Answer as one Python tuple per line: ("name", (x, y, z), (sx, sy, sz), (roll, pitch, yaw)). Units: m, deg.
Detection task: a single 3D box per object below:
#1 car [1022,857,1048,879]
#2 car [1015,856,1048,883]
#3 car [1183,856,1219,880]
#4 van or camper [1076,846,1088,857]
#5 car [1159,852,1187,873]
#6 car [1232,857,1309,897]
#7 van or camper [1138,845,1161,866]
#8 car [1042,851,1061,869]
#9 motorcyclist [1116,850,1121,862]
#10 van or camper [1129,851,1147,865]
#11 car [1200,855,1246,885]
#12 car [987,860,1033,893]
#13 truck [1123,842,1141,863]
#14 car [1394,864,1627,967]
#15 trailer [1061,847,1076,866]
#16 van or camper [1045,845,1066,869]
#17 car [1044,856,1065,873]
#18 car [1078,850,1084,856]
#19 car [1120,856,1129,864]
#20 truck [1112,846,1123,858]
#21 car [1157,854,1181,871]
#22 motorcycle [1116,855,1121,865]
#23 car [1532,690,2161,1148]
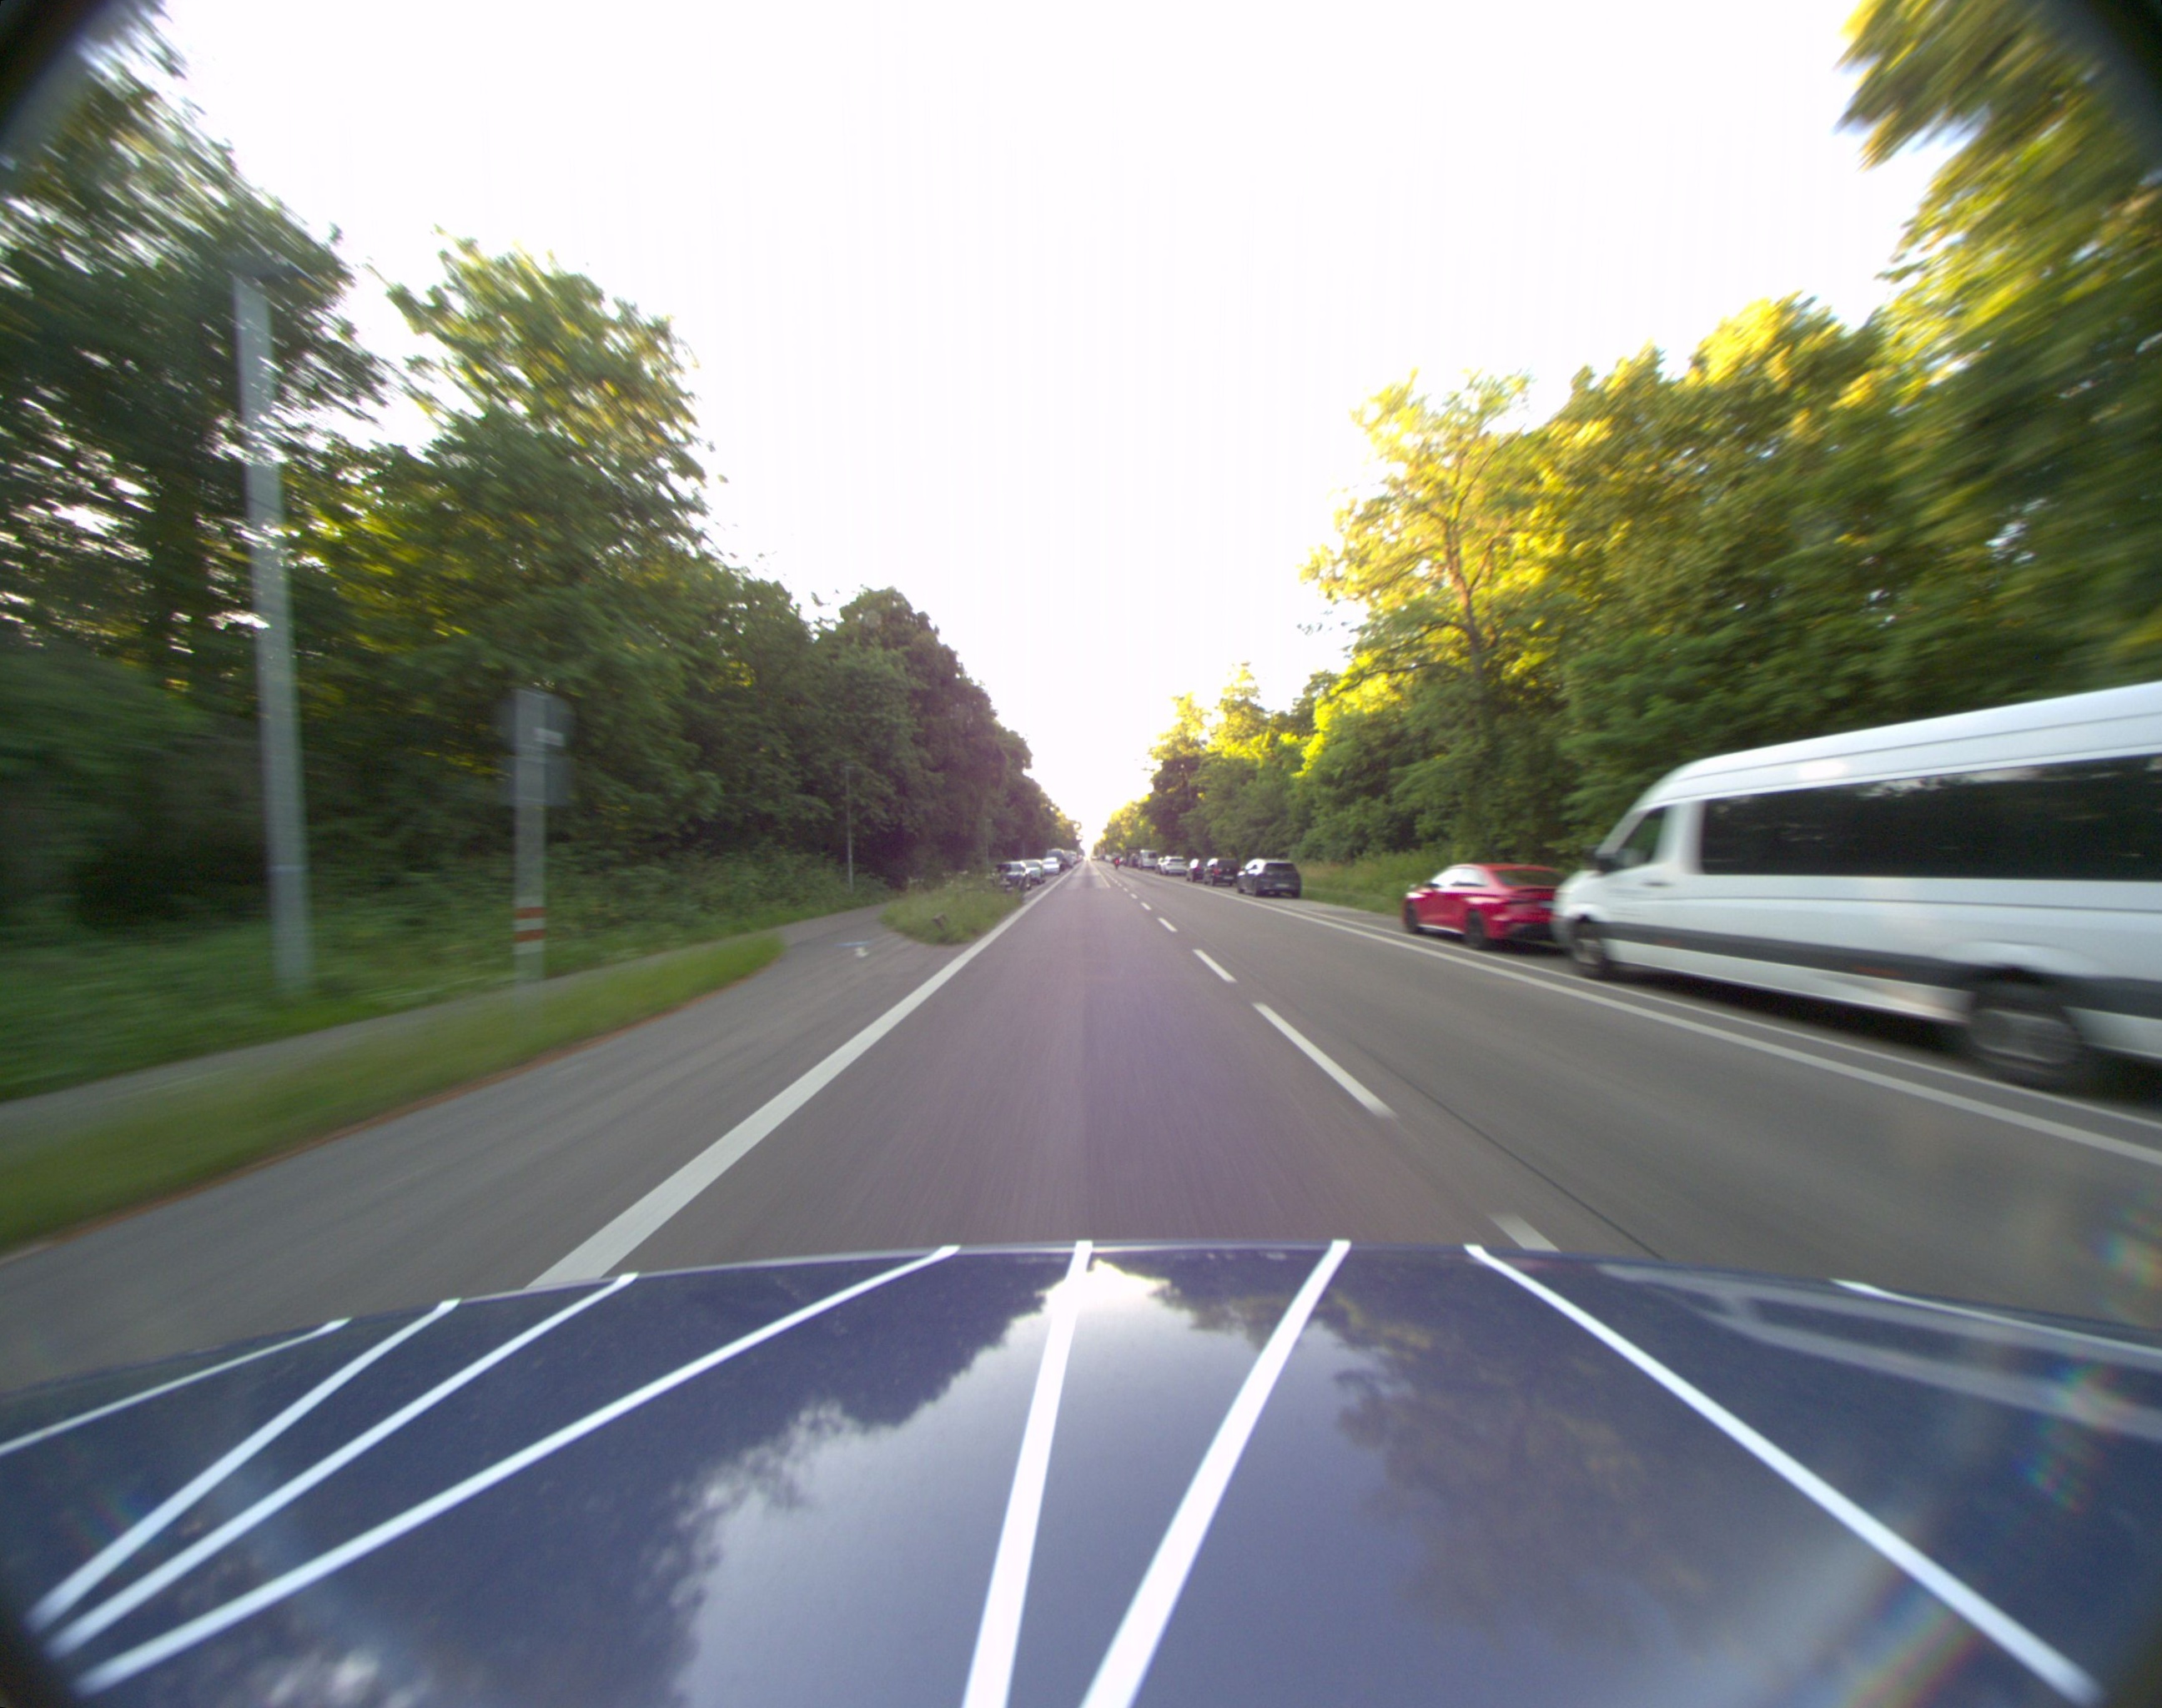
("car", (-3.189, 0.936, 53.312), (1.583, 1.438, 3.961), (-1, 0, 0))
("car", (-3.003, 0.927, 46.749), (1.693, 1.537, 4.112), (-1, 0, 1))
("car", (7.324, 0.845, 46.616), (1.601, 1.386, 4.051), (0, 0, 0))
("van or camper", (0.322, -0.535, 194.976), (3.015, 2.704, 6.960), (-1, 0, 1))
("car", (7.701, 0.699, 63.862), (1.699, 1.636, 4.572), (1, 0, -1))
("car", (7.464, 0.873, 30.340), (1.850, 1.454, 4.228), (1, 0, -2))
("van or camper", (8.165, 0.200, 91.310), (2.116, 2.376, 6.380), (2, 0, -1))
("car", (-3.045, 0.644, 80.097), (1.856, 1.754, 4.723), (-3, 0, -2))
("motorcyclist", (4.750, 0.298, 95.528), (0.605, 1.520, 0.995), (-1, 1, 3))
("van or camper", (8.320, 0.570, 110.949), (2.034, 1.945, 4.691), (2, 0, -2))
("car", (7.511, 0.820, 40.485), (1.716, 1.500, 3.656), (1, 0, 0))
("car", (-3.362, 1.032, 36.511), (1.715, 1.436, 4.122), (-2, 0, 1))
("truck", (8.321, -0.237, 124.353), (2.226, 3.188, 6.270), (2, 0, -1))
("car", (7.211, 0.935, 13.357), (1.720, 1.422, 4.388), (0, 0, 2))
("trailer", (-1.818, 0.373, 111.013), (1.866, 2.633, 4.269), (-2, 1, 0))
("van or camper", (-2.891, 0.390, 87.990), (2.132, 2.526, 6.061), (-2, -1, 0))
("car", (-2.429, 0.959, 70.337), (1.848, 1.485, 4.758), (-2, 0, -2))
("car", (0.036, -0.222, 254.870), (1.844, 2.007, 4.197), (-1, 0, 1))
("car", (8.236, 1.161, 144.532), (1.606, 1.495, 3.760), (2, 0, 3))
("truck", (9.404, -0.547, 195.940), (2.654, 3.038, 5.800), (-2, 1, 1))
("car", (7.972, 0.771, 69.302), (1.676, 1.511, 3.735), (1, 0, -1))
("motorcycle", (4.759, 0.746, 95.532), (0.612, 1.120, 1.962), (-1, 0, 3))
("car", (7.178, 0.378, 6.760), (2.084, 2.591, 7.088), (2, 0, 0))
